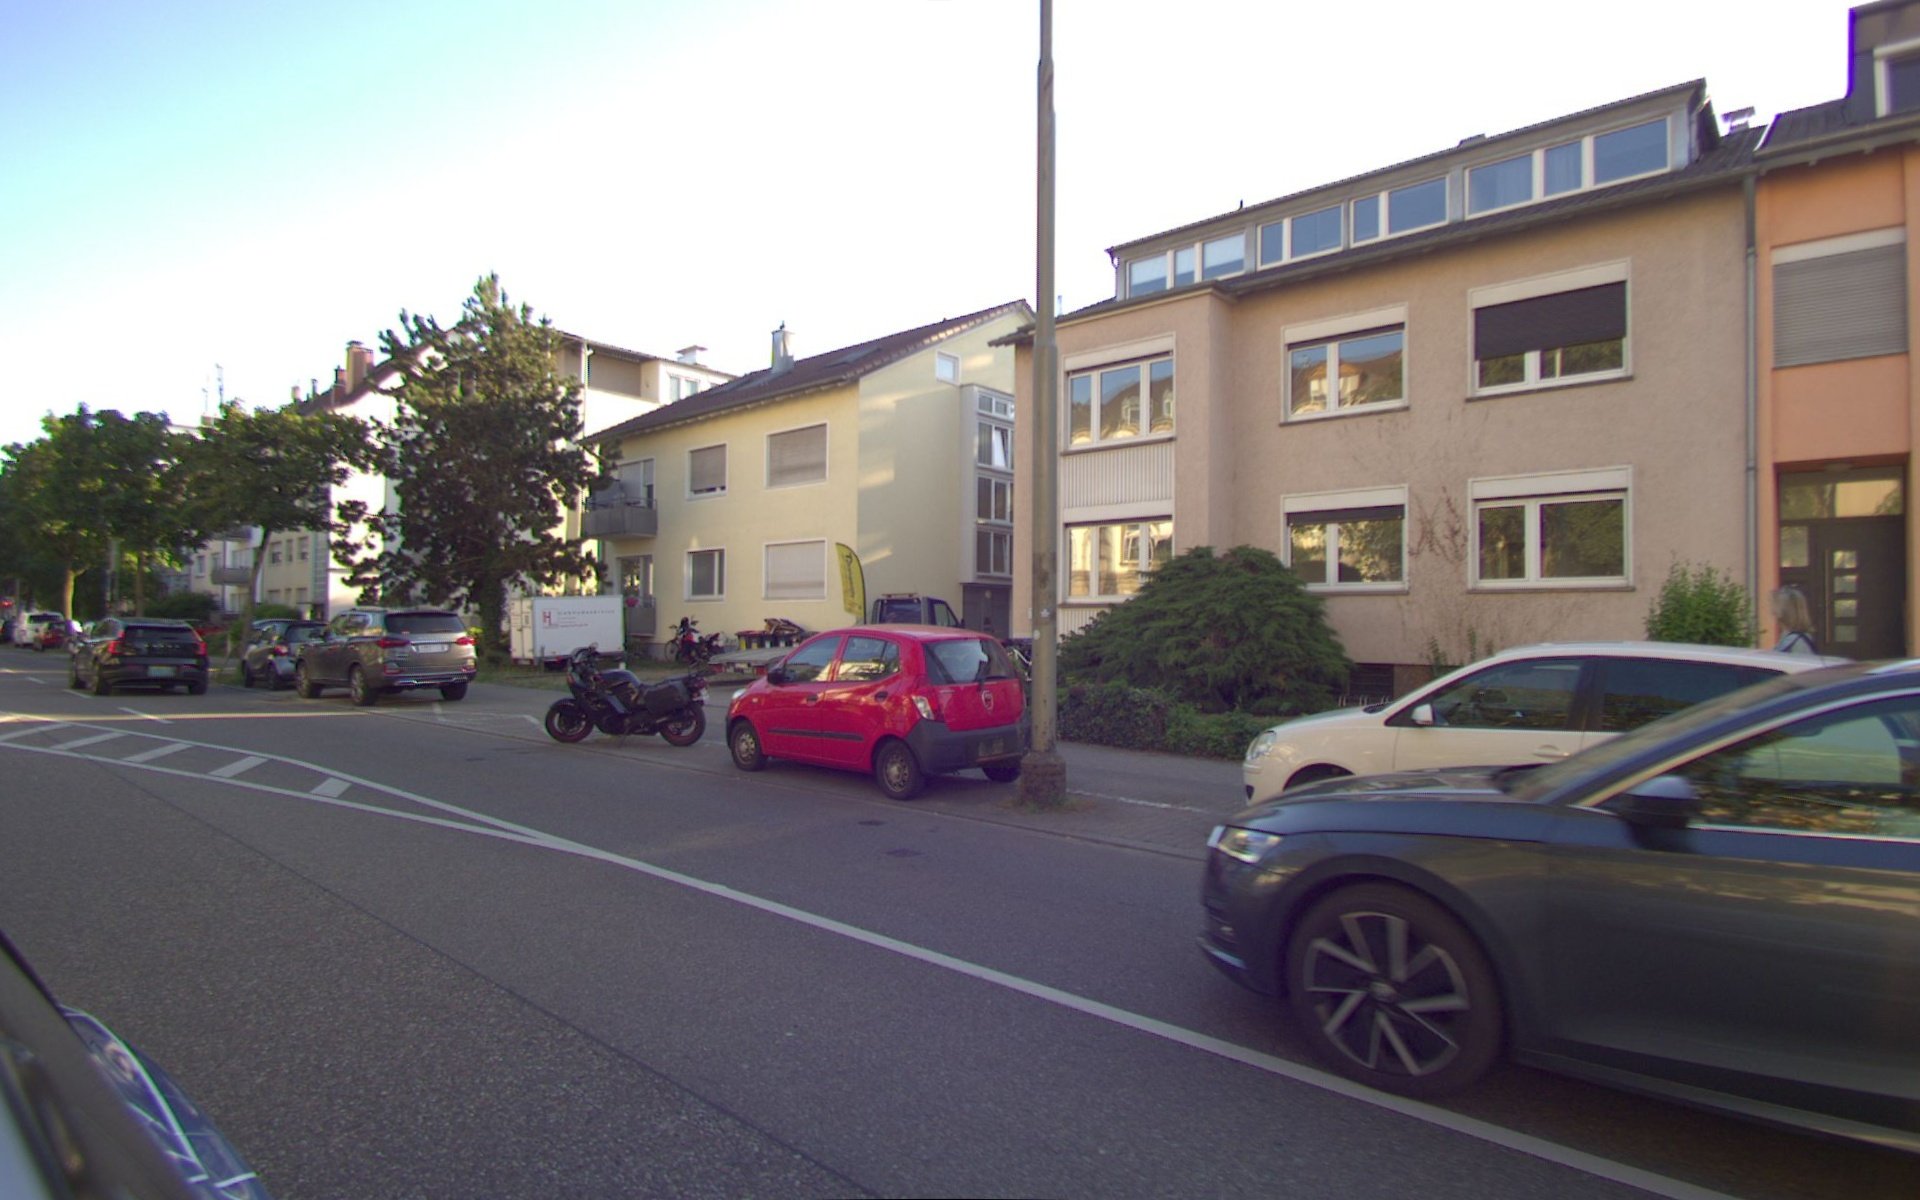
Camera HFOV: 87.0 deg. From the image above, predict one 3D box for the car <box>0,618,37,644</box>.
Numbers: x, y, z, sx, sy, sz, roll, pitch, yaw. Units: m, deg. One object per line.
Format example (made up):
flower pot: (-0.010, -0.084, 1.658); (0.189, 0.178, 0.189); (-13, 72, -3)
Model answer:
car: (-55.397, 1.809, 59.459); (3.682, 1.416, 1.388); (-1, 0, 43)

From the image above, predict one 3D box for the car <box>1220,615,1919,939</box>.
car: (3.813, 0.877, 6.474); (3.888, 1.535, 1.576); (-1, -2, 40)

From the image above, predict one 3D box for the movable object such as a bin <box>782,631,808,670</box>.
movable object such as a bin: (-4.358, 1.337, 26.764); (0.450, 1.026, 0.497); (-1, -3, 41)

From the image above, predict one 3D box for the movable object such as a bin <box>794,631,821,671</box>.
movable object such as a bin: (-3.987, 1.336, 26.437); (0.450, 1.026, 0.497); (-1, -3, 41)

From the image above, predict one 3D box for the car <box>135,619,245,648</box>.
car: (-42.412, 1.813, 55.848); (1.735, 1.416, 4.515); (-1, 0, 31)

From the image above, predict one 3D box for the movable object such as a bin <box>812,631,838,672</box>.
movable object such as a bin: (-3.476, 1.327, 26.039); (0.450, 1.026, 0.497); (-1, -3, 41)

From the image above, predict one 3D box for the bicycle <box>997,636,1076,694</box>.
bicycle: (1.512, 1.283, 20.241); (1.710, 1.094, 0.329); (-1, -2, 41)

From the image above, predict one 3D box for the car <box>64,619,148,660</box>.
car: (-33.049, 1.518, 39.152); (3.997, 1.497, 1.838); (-1, -2, 41)

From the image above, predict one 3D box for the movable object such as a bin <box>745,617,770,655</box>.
movable object such as a bin: (-5.606, 0.993, 27.964); (0.450, 1.026, 0.497); (-1, -3, 41)

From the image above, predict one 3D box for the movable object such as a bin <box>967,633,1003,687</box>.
movable object such as a bin: (0.529, 1.251, 21.323); (0.586, 1.098, 0.483); (-1, -2, 42)

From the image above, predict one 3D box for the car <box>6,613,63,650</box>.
car: (-47.776, 1.618, 52.216); (4.190, 1.823, 1.717); (-1, -2, 41)

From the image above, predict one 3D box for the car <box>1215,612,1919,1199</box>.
car: (3.176, 0.808, 2.750); (4.532, 1.463, 1.742); (-1, -4, 42)

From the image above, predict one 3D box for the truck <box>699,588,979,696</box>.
truck: (-2.609, 0.946, 23.953); (2.275, 2.202, 6.822); (-1, -2, 41)

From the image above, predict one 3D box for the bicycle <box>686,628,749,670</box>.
bicycle: (-6.960, 1.374, 29.015); (2.257, 1.149, 0.564); (-1, -2, 41)

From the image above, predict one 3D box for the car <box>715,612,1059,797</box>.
car: (-0.842, 0.906, 10.184); (3.437, 1.535, 1.575); (-1, -2, 44)

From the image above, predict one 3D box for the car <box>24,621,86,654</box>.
car: (-42.489, 1.754, 47.488); (3.635, 1.475, 1.717); (-1, -2, 41)

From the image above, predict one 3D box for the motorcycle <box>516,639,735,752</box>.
motorcycle: (-4.163, 1.146, 12.672); (2.350, 1.276, 1.176); (0, -2, 18)

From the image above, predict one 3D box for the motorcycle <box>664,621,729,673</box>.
motorcycle: (-7.359, 1.284, 28.174); (2.257, 1.384, 0.564); (-1, -2, 41)

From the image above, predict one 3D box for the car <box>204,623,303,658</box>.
car: (-32.248, 1.818, 46.244); (1.686, 1.535, 3.421); (-1, -2, 42)

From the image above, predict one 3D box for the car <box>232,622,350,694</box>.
car: (-15.542, 1.293, 23.491); (2.747, 1.567, 1.557); (-1, -2, 40)

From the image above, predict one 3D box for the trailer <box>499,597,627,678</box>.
trailer: (-10.501, 0.983, 26.900); (1.551, 2.029, 2.745); (-1, -2, 39)

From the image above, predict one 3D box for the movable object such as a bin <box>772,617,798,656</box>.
movable object such as a bin: (-4.714, 0.976, 27.250); (0.450, 1.026, 0.497); (-1, -3, 41)

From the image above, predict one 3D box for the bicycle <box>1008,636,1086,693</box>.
bicycle: (1.748, 1.280, 20.498); (1.710, 1.094, 0.329); (-1, -2, 41)

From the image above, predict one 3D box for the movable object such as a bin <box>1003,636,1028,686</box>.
movable object such as a bin: (1.193, 1.295, 21.653); (0.349, 1.046, 0.430); (-1, -2, 41)

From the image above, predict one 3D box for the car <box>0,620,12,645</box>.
car: (-59.370, 1.968, 62.168); (3.682, 1.475, 1.388); (-1, 0, 43)

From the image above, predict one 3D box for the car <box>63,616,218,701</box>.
car: (-17.307, 1.187, 21.314); (3.998, 1.582, 1.816); (0, -4, 41)

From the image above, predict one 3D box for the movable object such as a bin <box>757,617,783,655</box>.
movable object such as a bin: (-5.185, 0.986, 27.596); (0.450, 1.026, 0.497); (-1, -3, 41)

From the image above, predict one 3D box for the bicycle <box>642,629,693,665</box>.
bicycle: (-9.101, 1.448, 31.447); (2.045, 1.072, 0.513); (-1, -2, 41)

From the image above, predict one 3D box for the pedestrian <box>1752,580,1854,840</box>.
pedestrian: (6.246, 0.778, 7.495); (0.506, 1.806, 0.705); (-1, -3, 44)

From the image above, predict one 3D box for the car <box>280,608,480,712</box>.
car: (-11.393, 1.089, 19.742); (4.723, 1.793, 1.868); (-1, -2, 40)
